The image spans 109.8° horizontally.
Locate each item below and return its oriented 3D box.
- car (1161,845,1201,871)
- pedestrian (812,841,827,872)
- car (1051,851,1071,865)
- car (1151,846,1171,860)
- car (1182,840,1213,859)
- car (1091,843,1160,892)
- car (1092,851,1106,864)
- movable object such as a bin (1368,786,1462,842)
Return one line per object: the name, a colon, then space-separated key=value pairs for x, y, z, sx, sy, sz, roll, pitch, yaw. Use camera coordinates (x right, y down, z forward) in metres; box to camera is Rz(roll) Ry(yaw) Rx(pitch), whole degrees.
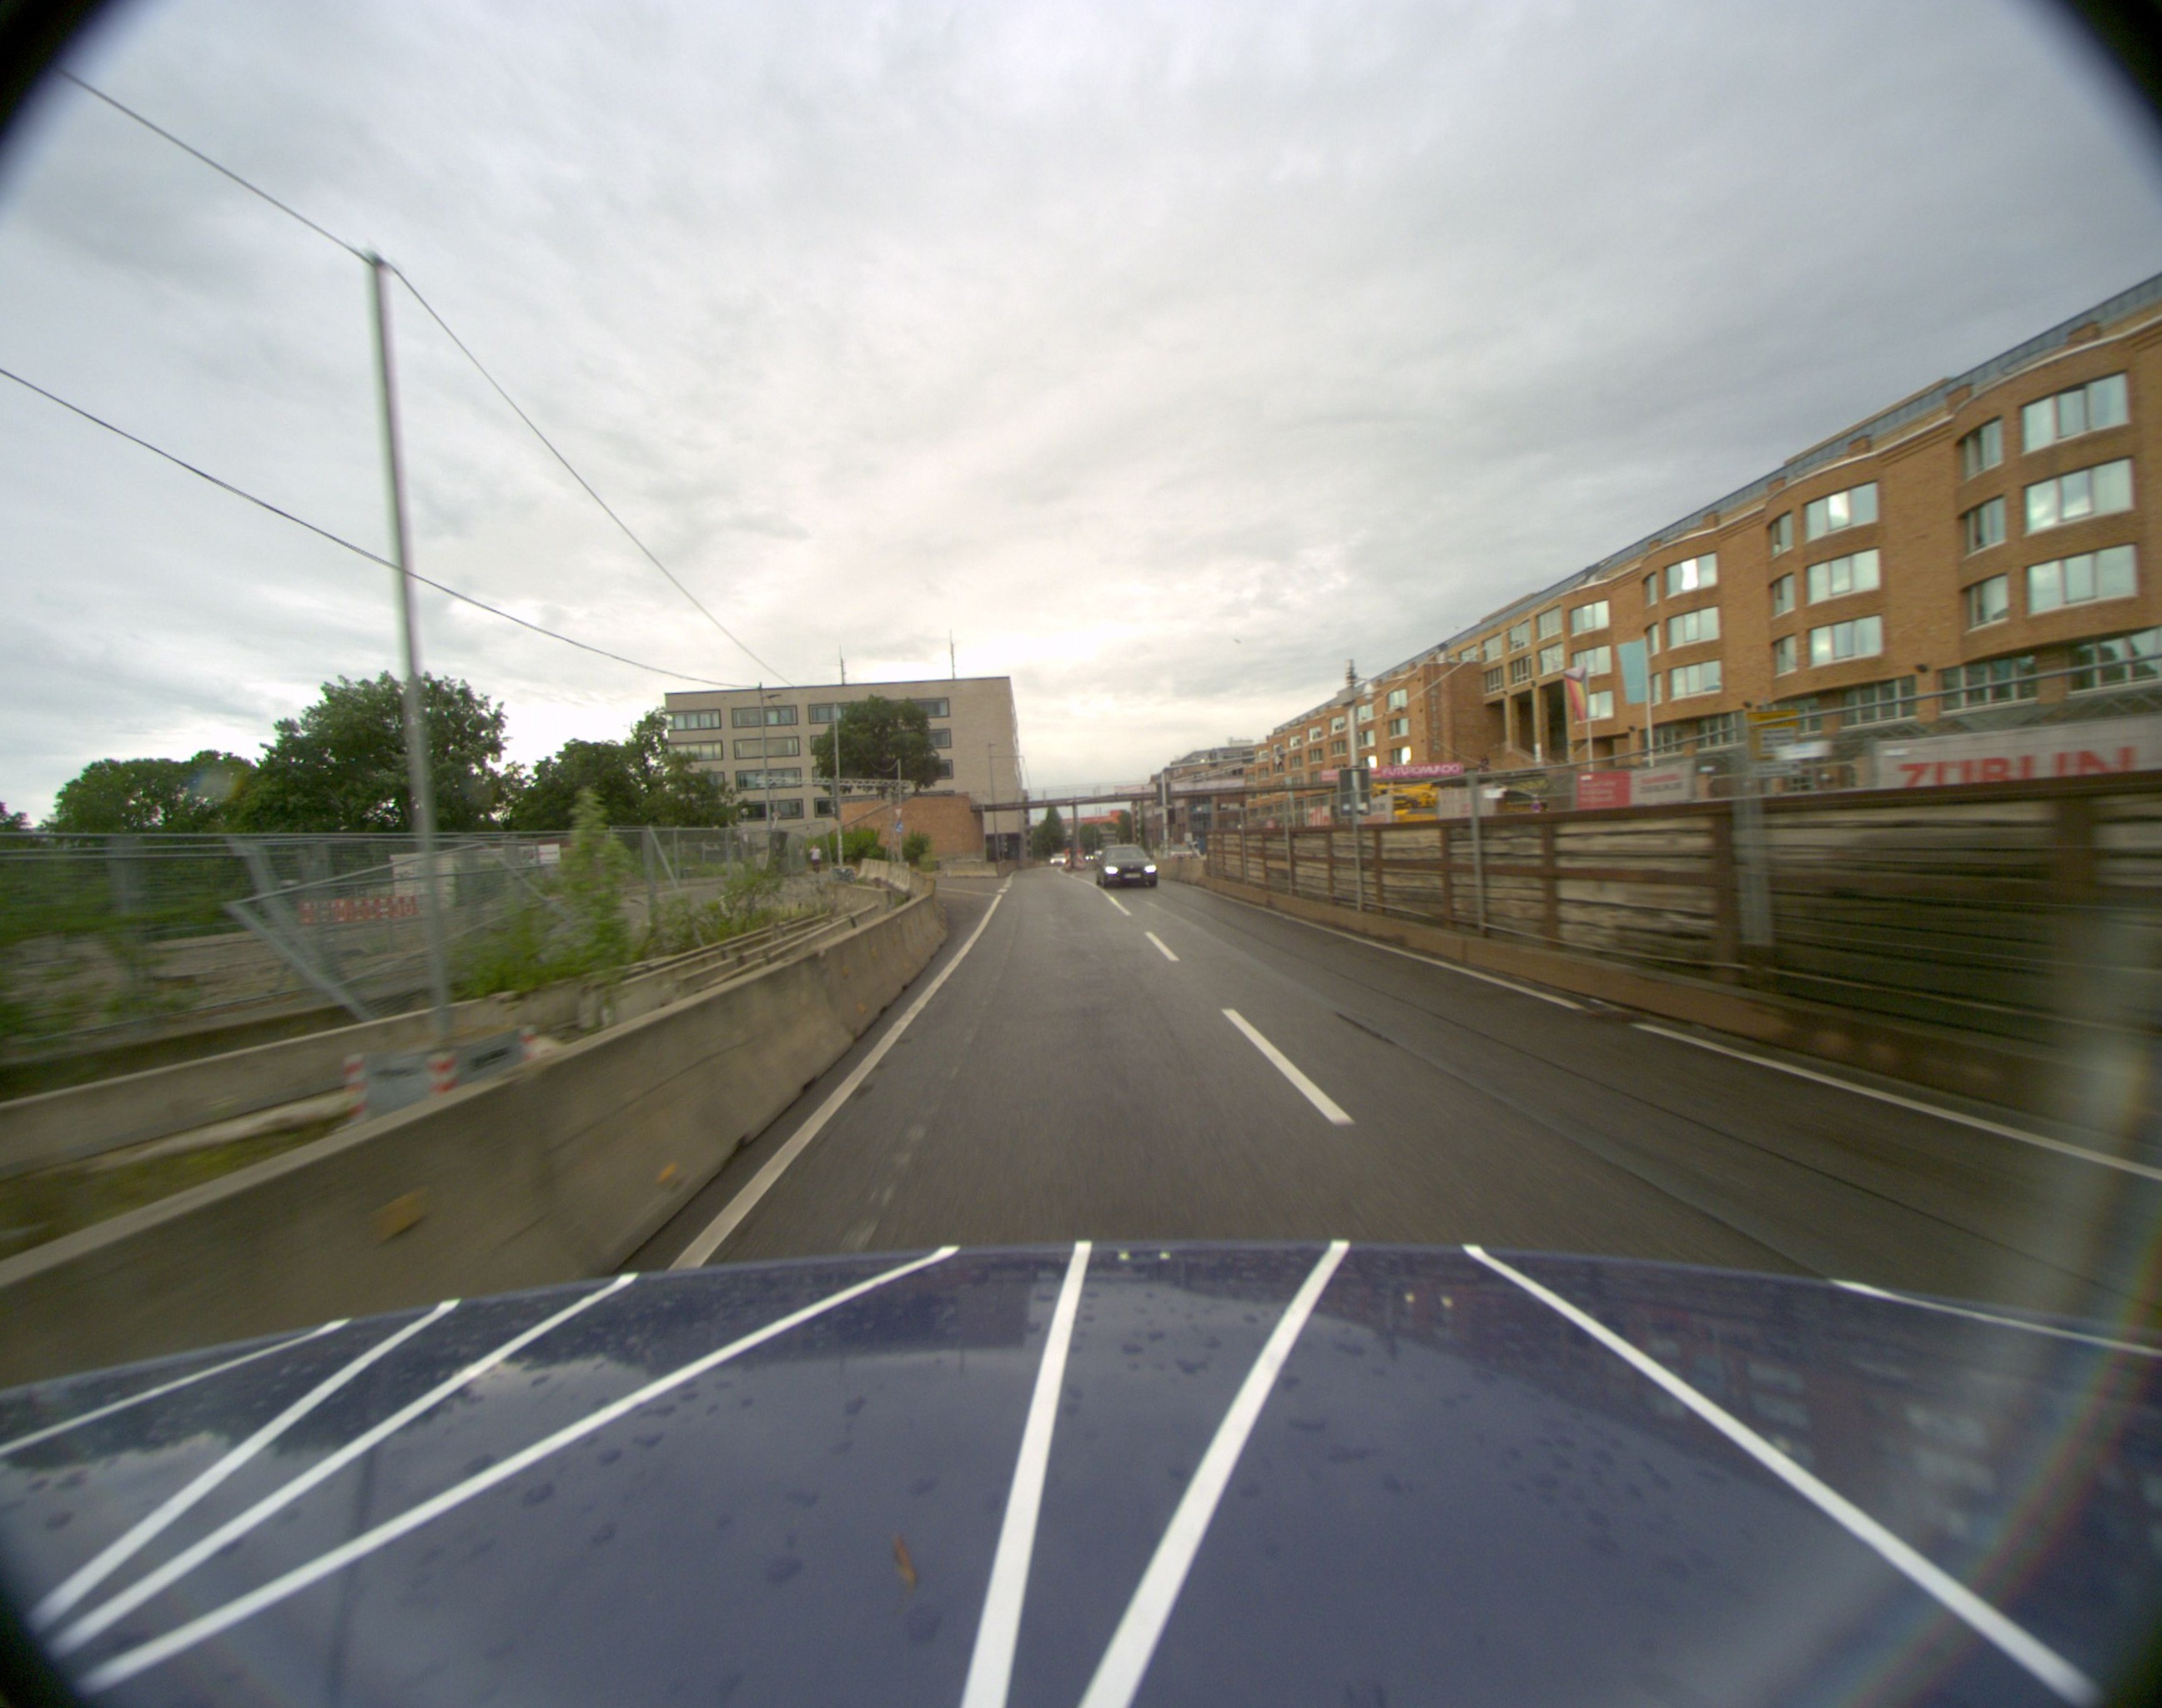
car: x=6.565 y=0.280 z=50.245 sx=1.772 sy=1.524 sz=4.355 roll=-3 pitch=0 yaw=-3
pedestrian: x=-15.196 y=0.144 z=44.128 sx=0.692 sy=1.768 sz=0.814 roll=-3 pitch=2 yaw=-20
car: x=-2.291 y=0.474 z=88.340 sx=1.771 sy=1.524 sz=4.657 roll=-3 pitch=0 yaw=5
car: x=11.050 y=-0.084 z=105.418 sx=1.811 sy=1.810 sz=5.300 roll=-3 pitch=-1 yaw=-3
car: x=10.244 y=-0.383 z=67.136 sx=1.752 sy=1.540 sz=4.522 roll=-2 pitch=0 yaw=-3
car: x=1.438 y=0.437 z=26.307 sx=1.773 sy=1.435 sz=4.654 roll=-3 pitch=0 yaw=-4
car: x=2.407 y=0.475 z=102.223 sx=1.772 sy=1.524 sz=4.656 roll=-3 pitch=0 yaw=2
movable object such as a bin: x=14.776 y=-1.696 z=33.899 sx=2.032 sy=2.264 sz=4.291 roll=0 pitch=0 yaw=-5
